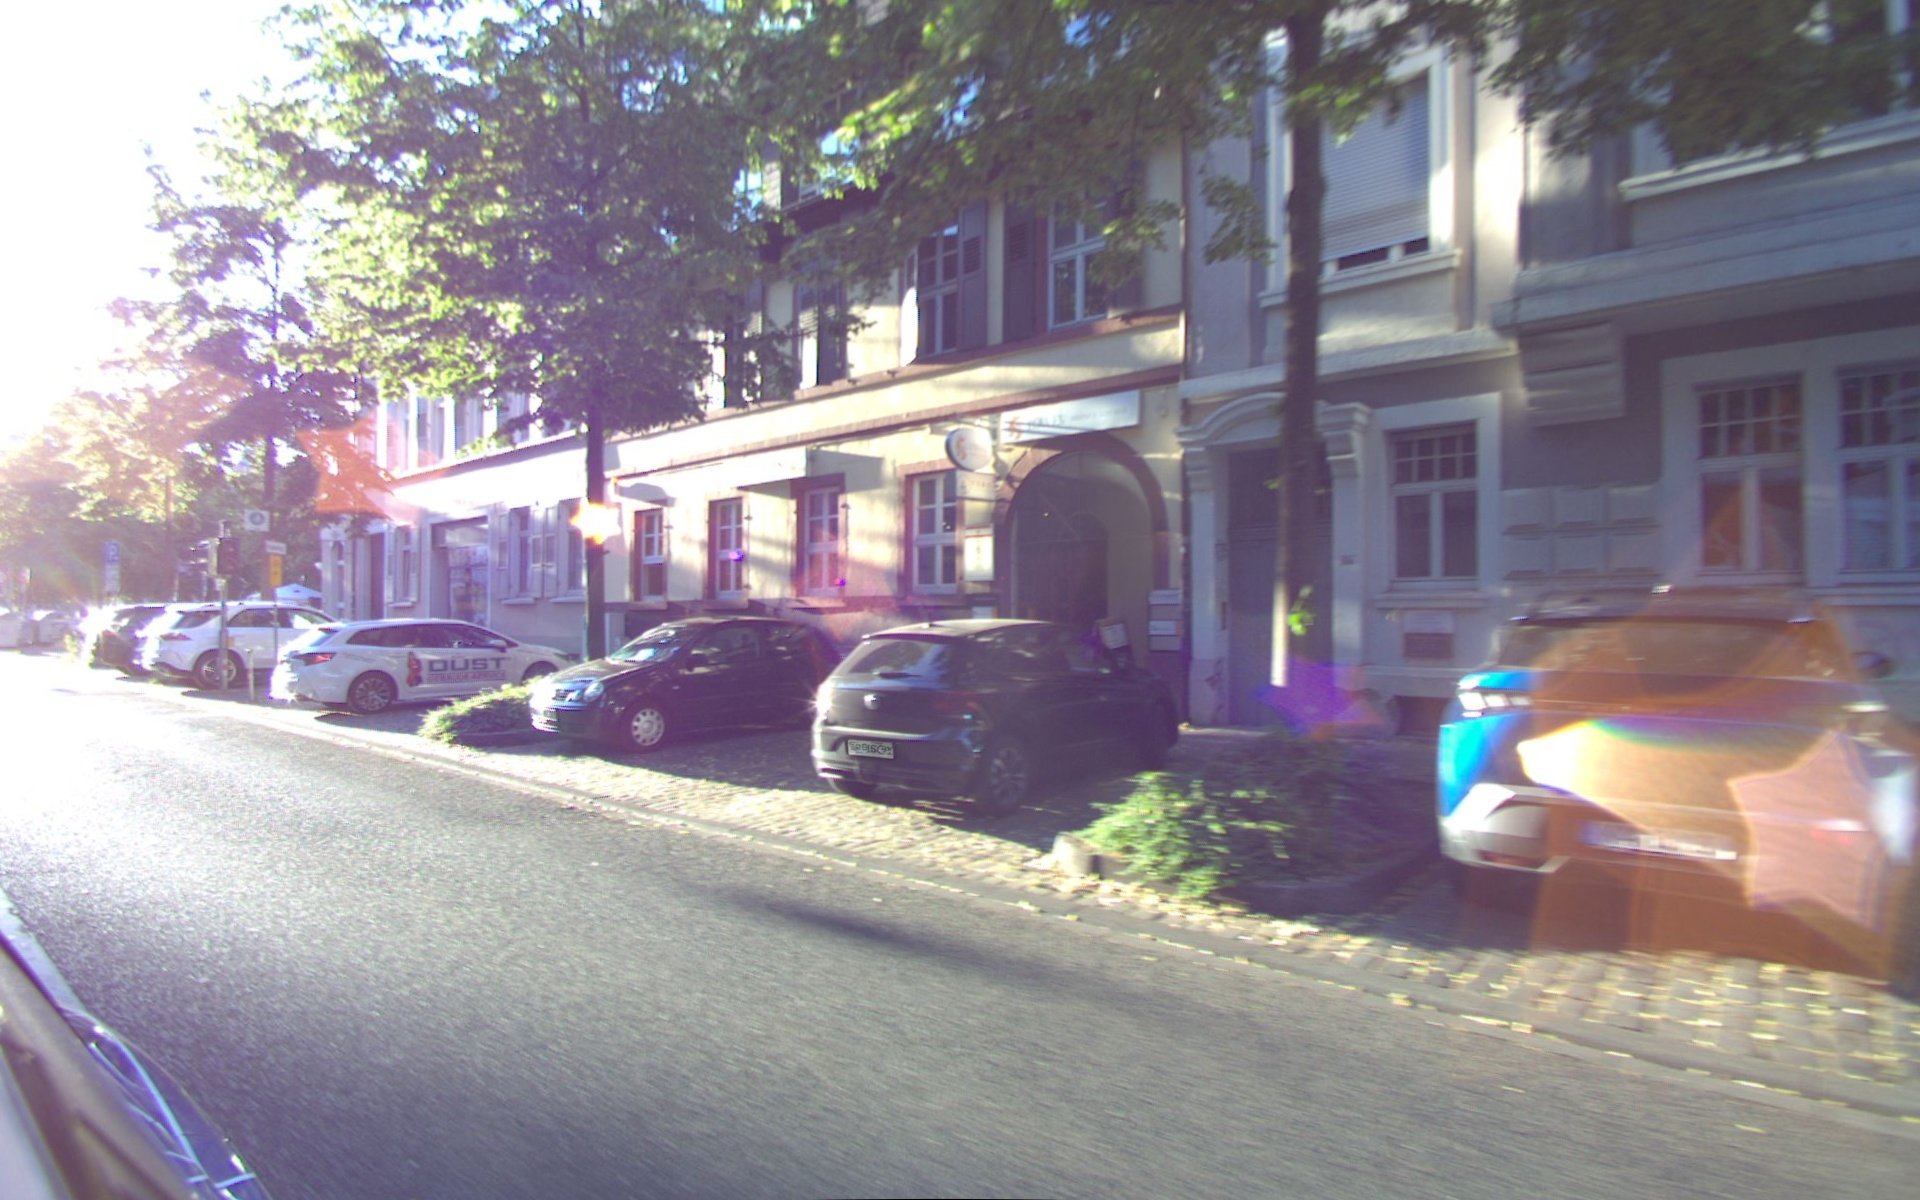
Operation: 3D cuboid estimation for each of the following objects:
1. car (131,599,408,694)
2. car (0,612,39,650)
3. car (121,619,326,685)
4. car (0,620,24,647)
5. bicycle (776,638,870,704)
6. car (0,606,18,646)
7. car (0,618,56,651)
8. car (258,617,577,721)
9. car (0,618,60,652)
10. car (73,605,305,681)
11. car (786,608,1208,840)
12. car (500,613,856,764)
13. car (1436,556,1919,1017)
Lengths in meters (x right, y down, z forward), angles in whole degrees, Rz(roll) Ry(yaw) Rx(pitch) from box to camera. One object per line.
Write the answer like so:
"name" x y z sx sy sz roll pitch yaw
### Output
"car" -14.885 0.909 22.023 2.052 1.825 4.657 -2 -1 42
"car" -50.695 1.594 52.316 1.876 1.948 4.566 0 -2 3
"car" -17.971 1.210 24.811 1.820 1.472 3.775 -2 -2 42
"car" -55.988 1.890 56.920 2.114 1.594 4.553 0 -2 12
"bicycle" -2.295 1.155 16.817 0.613 0.997 1.734 -1 -1 -45
"car" -58.416 1.494 58.976 2.136 2.376 4.755 0 -2 13
"car" -48.047 1.708 50.376 1.876 1.645 4.566 0 -2 3
"car" -8.877 1.044 16.857 1.821 1.434 4.337 -1 -1 41
"car" -45.602 1.650 47.878 1.790 1.569 4.566 0 -2 3
"car" -20.048 1.069 26.491 1.945 1.796 4.509 0 -1 40
"car" 0.529 0.853 8.792 1.695 1.459 3.877 -1 0 38
"car" -3.265 0.923 12.191 1.789 1.459 3.743 -2 -1 43
"car" 4.198 0.682 5.742 1.890 1.663 4.191 -1 -1 37
